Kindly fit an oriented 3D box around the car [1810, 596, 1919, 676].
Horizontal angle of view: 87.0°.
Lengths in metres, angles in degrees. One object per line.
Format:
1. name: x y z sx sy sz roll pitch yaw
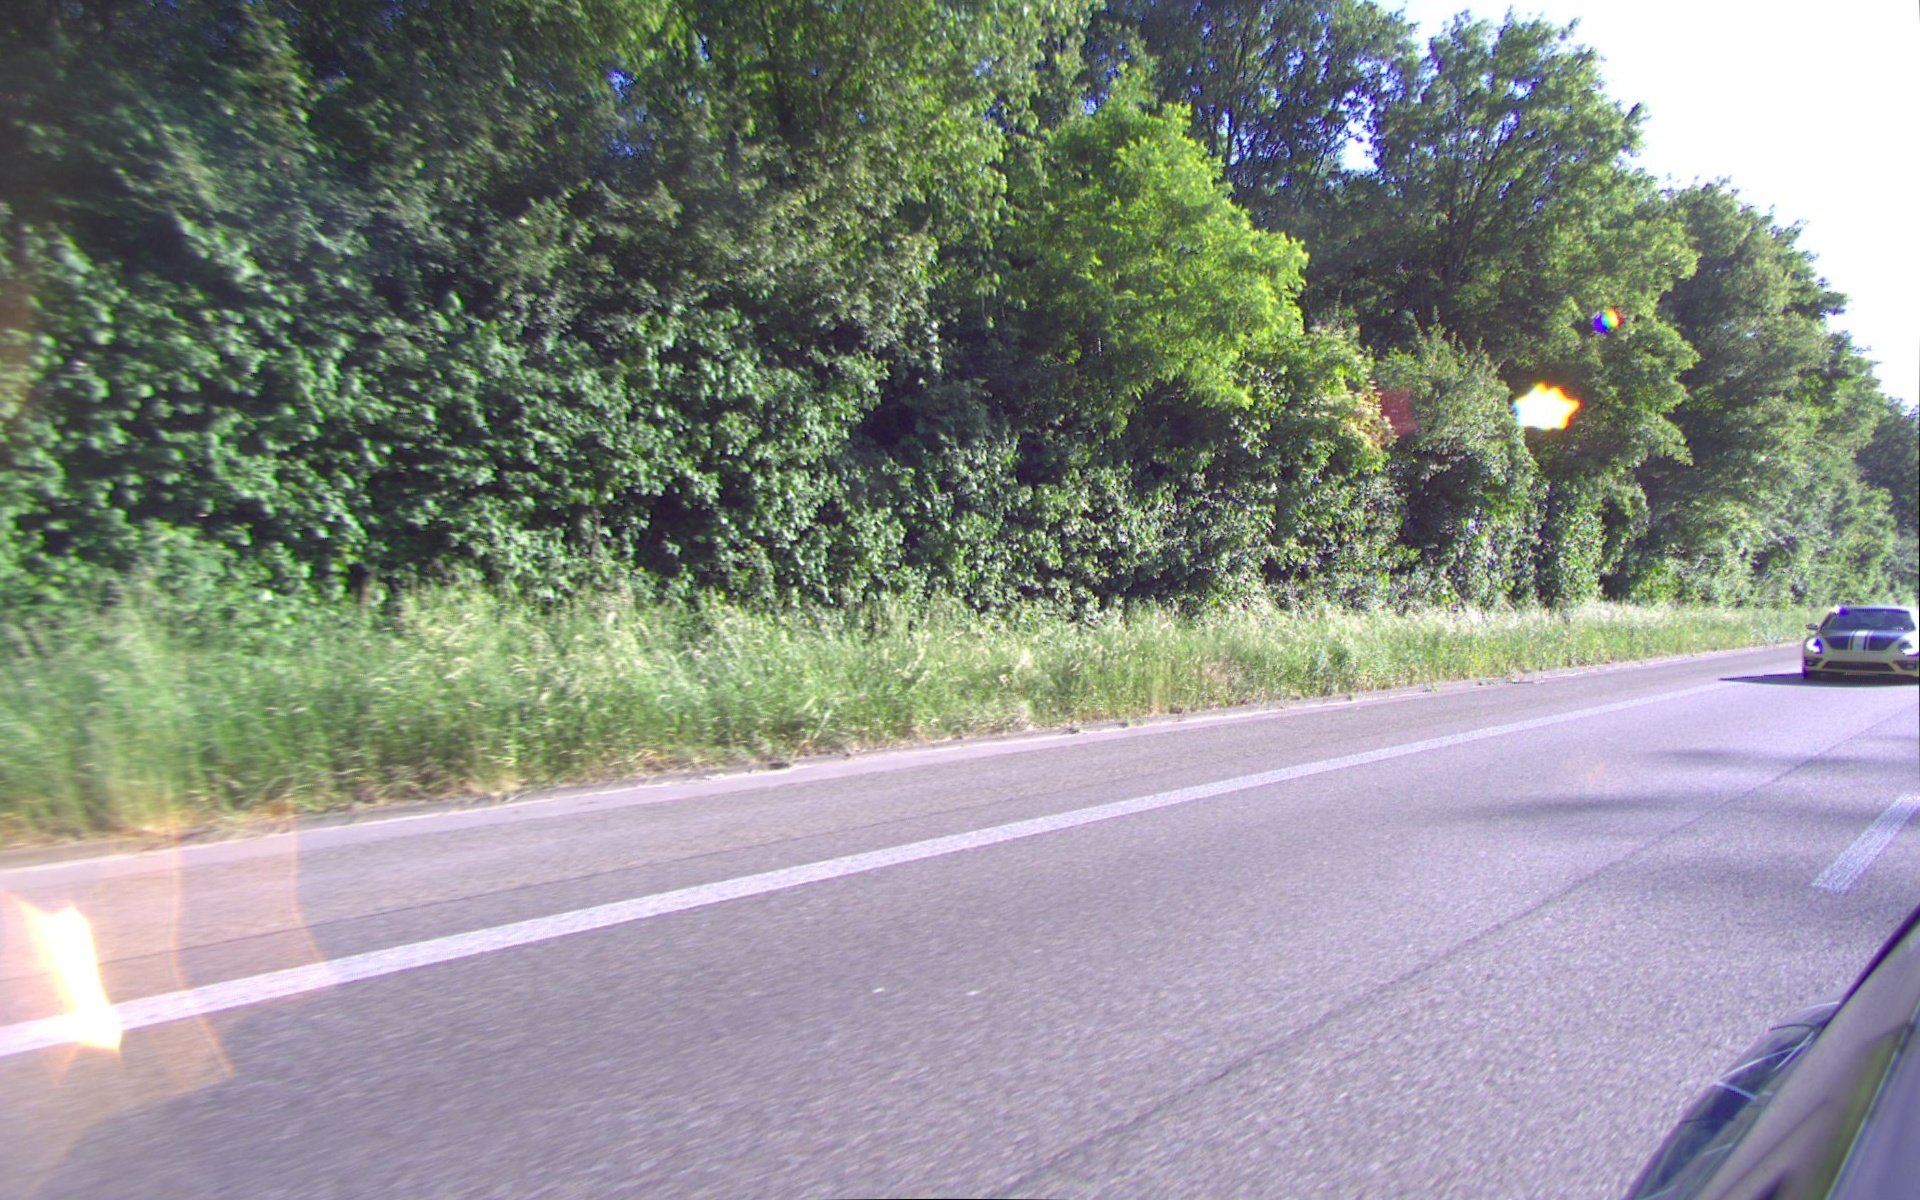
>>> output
1. car: 18.499 0.659 20.242 3.811 1.467 1.792 0 0 -42
